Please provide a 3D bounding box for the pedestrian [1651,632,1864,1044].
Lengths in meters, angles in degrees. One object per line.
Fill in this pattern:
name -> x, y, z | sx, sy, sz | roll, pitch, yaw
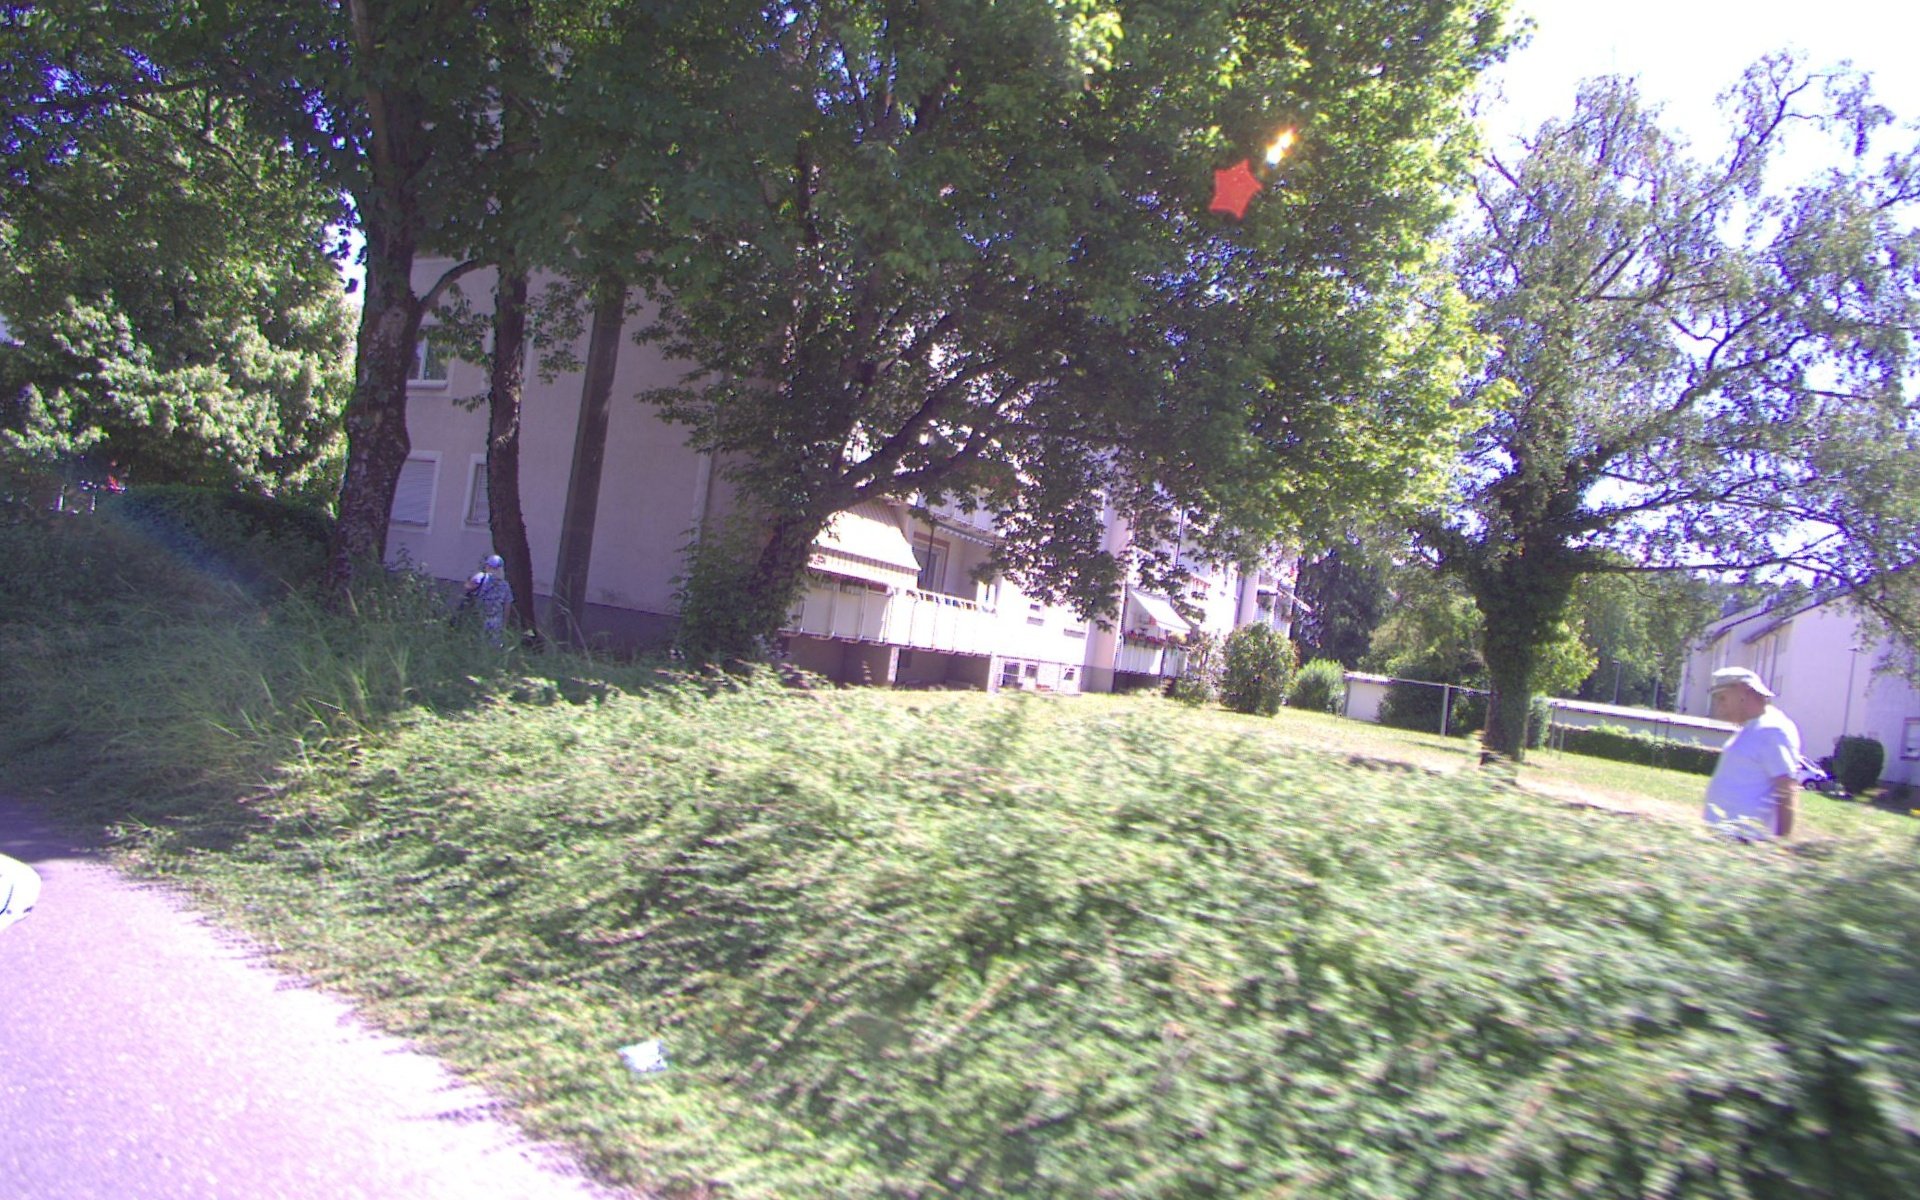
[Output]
pedestrian -> 4.188, 1.191, 5.347 | 0.649, 1.937, 0.704 | 7, 0, 34

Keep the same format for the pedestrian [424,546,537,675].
pedestrian -> -5.511, 0.121, 11.560 | 0.874, 1.350, 0.663 | 7, -1, 31

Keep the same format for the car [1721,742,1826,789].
car -> 44.481, 9.038, 55.113 | 1.933, 1.844, 3.928 | 8, -2, -30
